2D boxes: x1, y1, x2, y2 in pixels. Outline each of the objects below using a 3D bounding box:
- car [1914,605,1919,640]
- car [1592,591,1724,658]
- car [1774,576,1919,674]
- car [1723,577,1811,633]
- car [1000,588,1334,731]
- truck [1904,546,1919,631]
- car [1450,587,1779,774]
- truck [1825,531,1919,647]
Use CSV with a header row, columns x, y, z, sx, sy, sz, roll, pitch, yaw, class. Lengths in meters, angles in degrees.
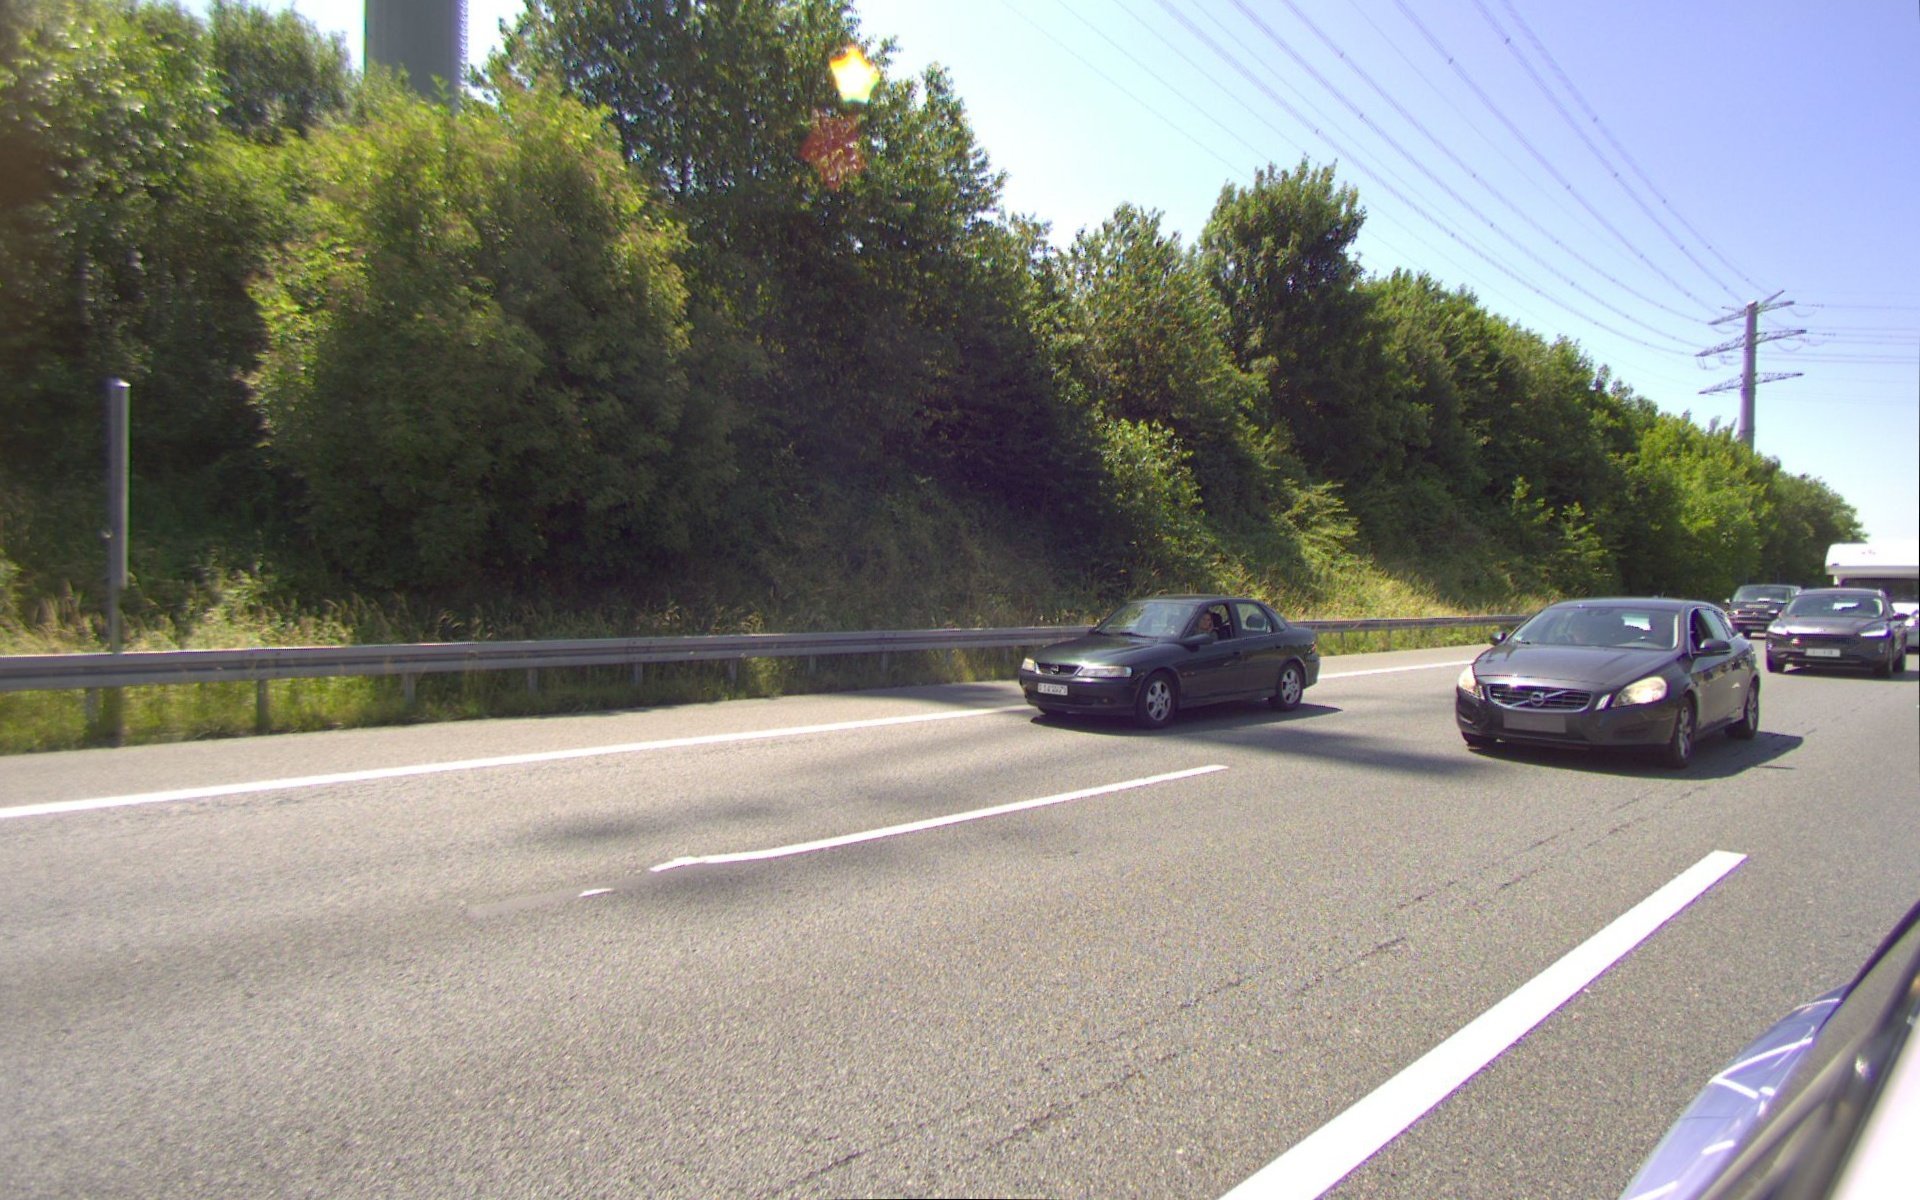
x,y,z,sx,sy,sz,roll,pitch,yaw,class
50.983,1.152,52.542,4.310,1.724,1.889,-1,1,-43,car
16.896,0.520,24.450,3.944,1.488,1.743,0,1,-42,car
17.622,0.407,19.954,4.310,1.724,1.889,-1,1,-43,car
29.335,0.138,36.745,4.617,1.928,1.786,-1,0,-42,car
2.587,0.567,12.055,4.228,1.395,1.737,-1,0,-42,car
38.903,-0.468,39.100,9.724,3.053,2.512,-1,0,-41,truck
6.590,0.608,10.001,4.160,1.455,1.798,-1,1,-43,car
28.565,-0.342,30.372,9.724,3.053,2.512,-1,0,-41,truck
